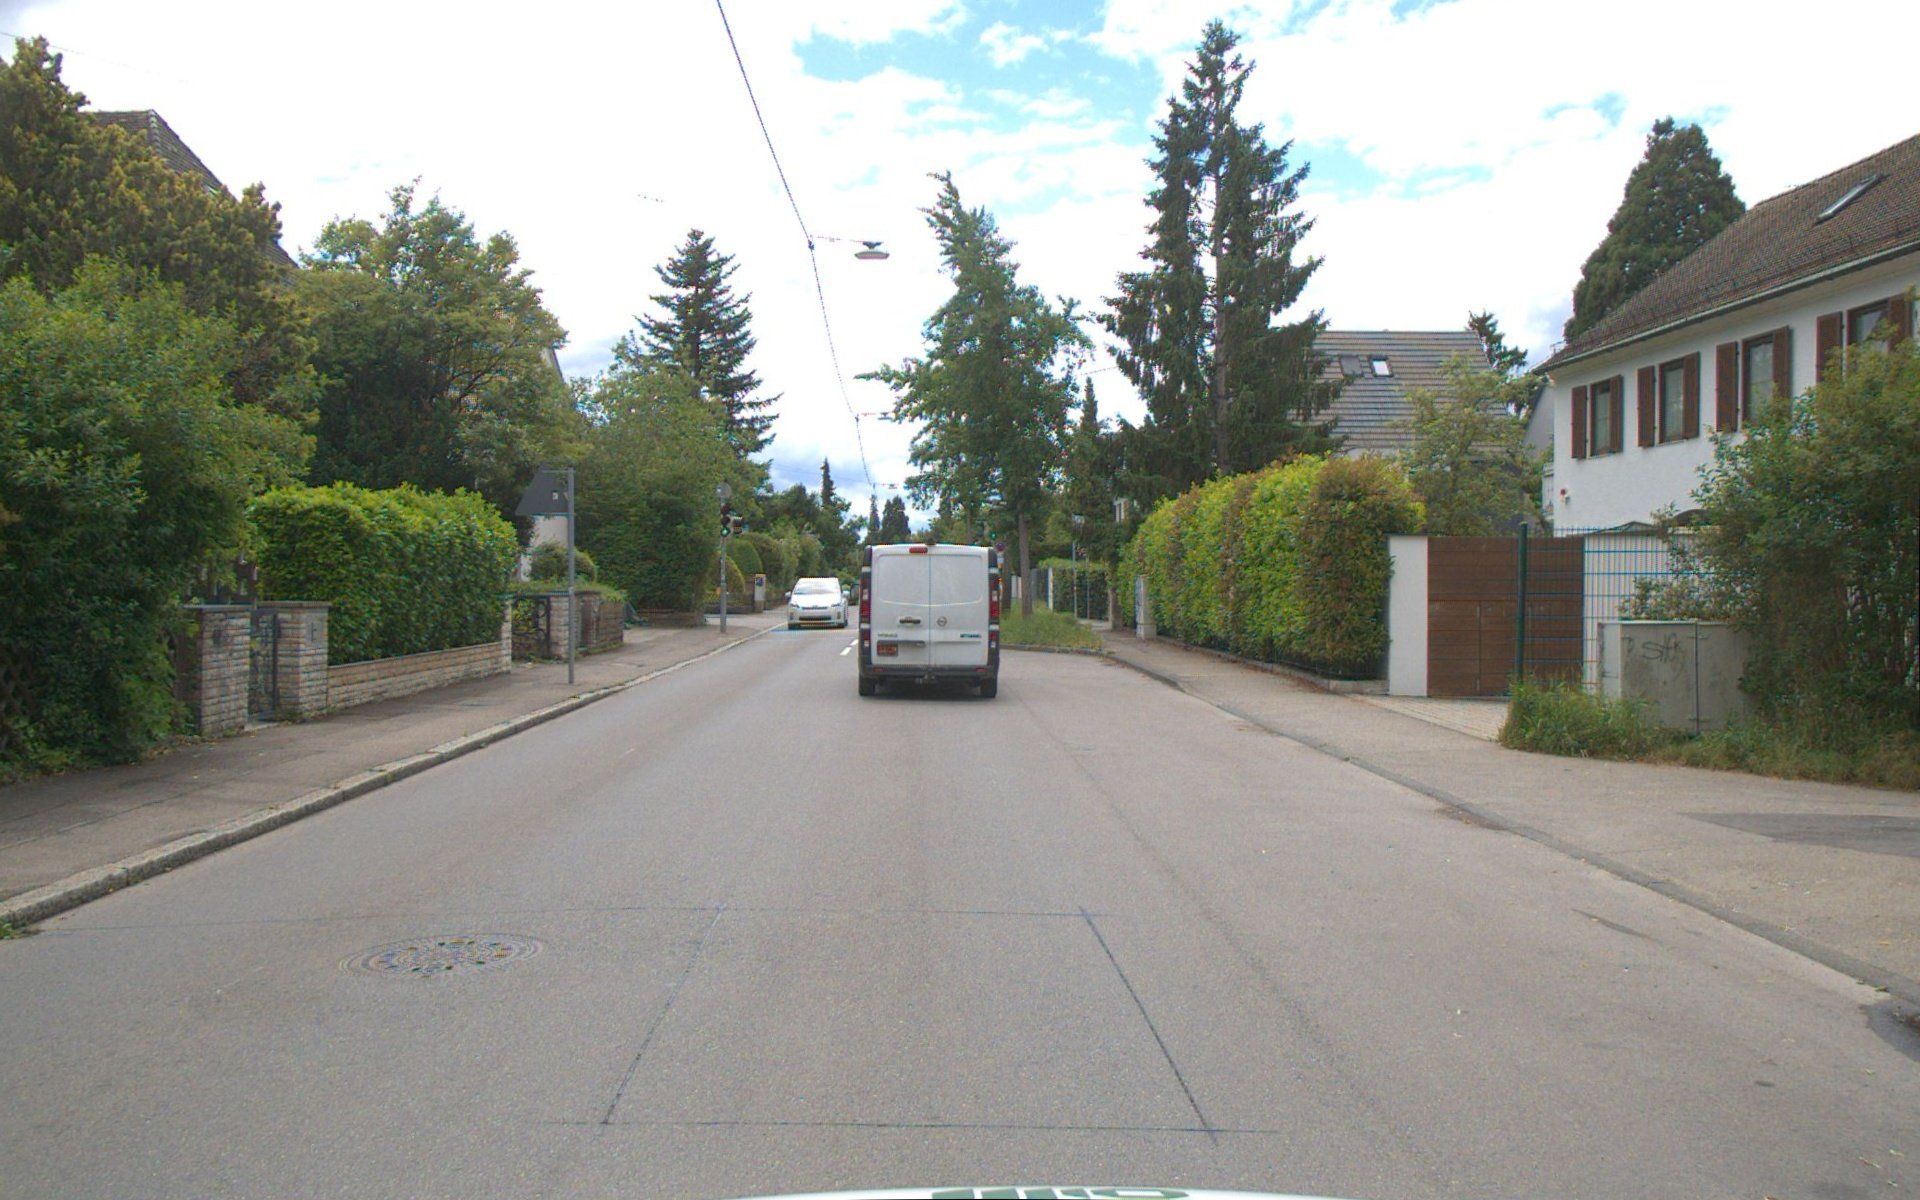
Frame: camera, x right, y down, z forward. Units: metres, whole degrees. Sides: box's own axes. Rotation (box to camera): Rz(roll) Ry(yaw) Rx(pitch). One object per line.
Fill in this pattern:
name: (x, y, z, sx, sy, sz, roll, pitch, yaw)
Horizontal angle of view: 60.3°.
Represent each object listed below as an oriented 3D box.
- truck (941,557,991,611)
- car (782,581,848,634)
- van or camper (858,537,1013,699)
truck: (0.224, -0.785, 81.268, 2.143, 2.515, 7.428, 1, 0, -2)
car: (-4.378, 0.184, 50.591, 1.818, 1.476, 4.279, -2, 1, -3)
van or camper: (-0.402, 0.249, 22.908, 1.900, 1.988, 4.762, 1, -1, -2)
